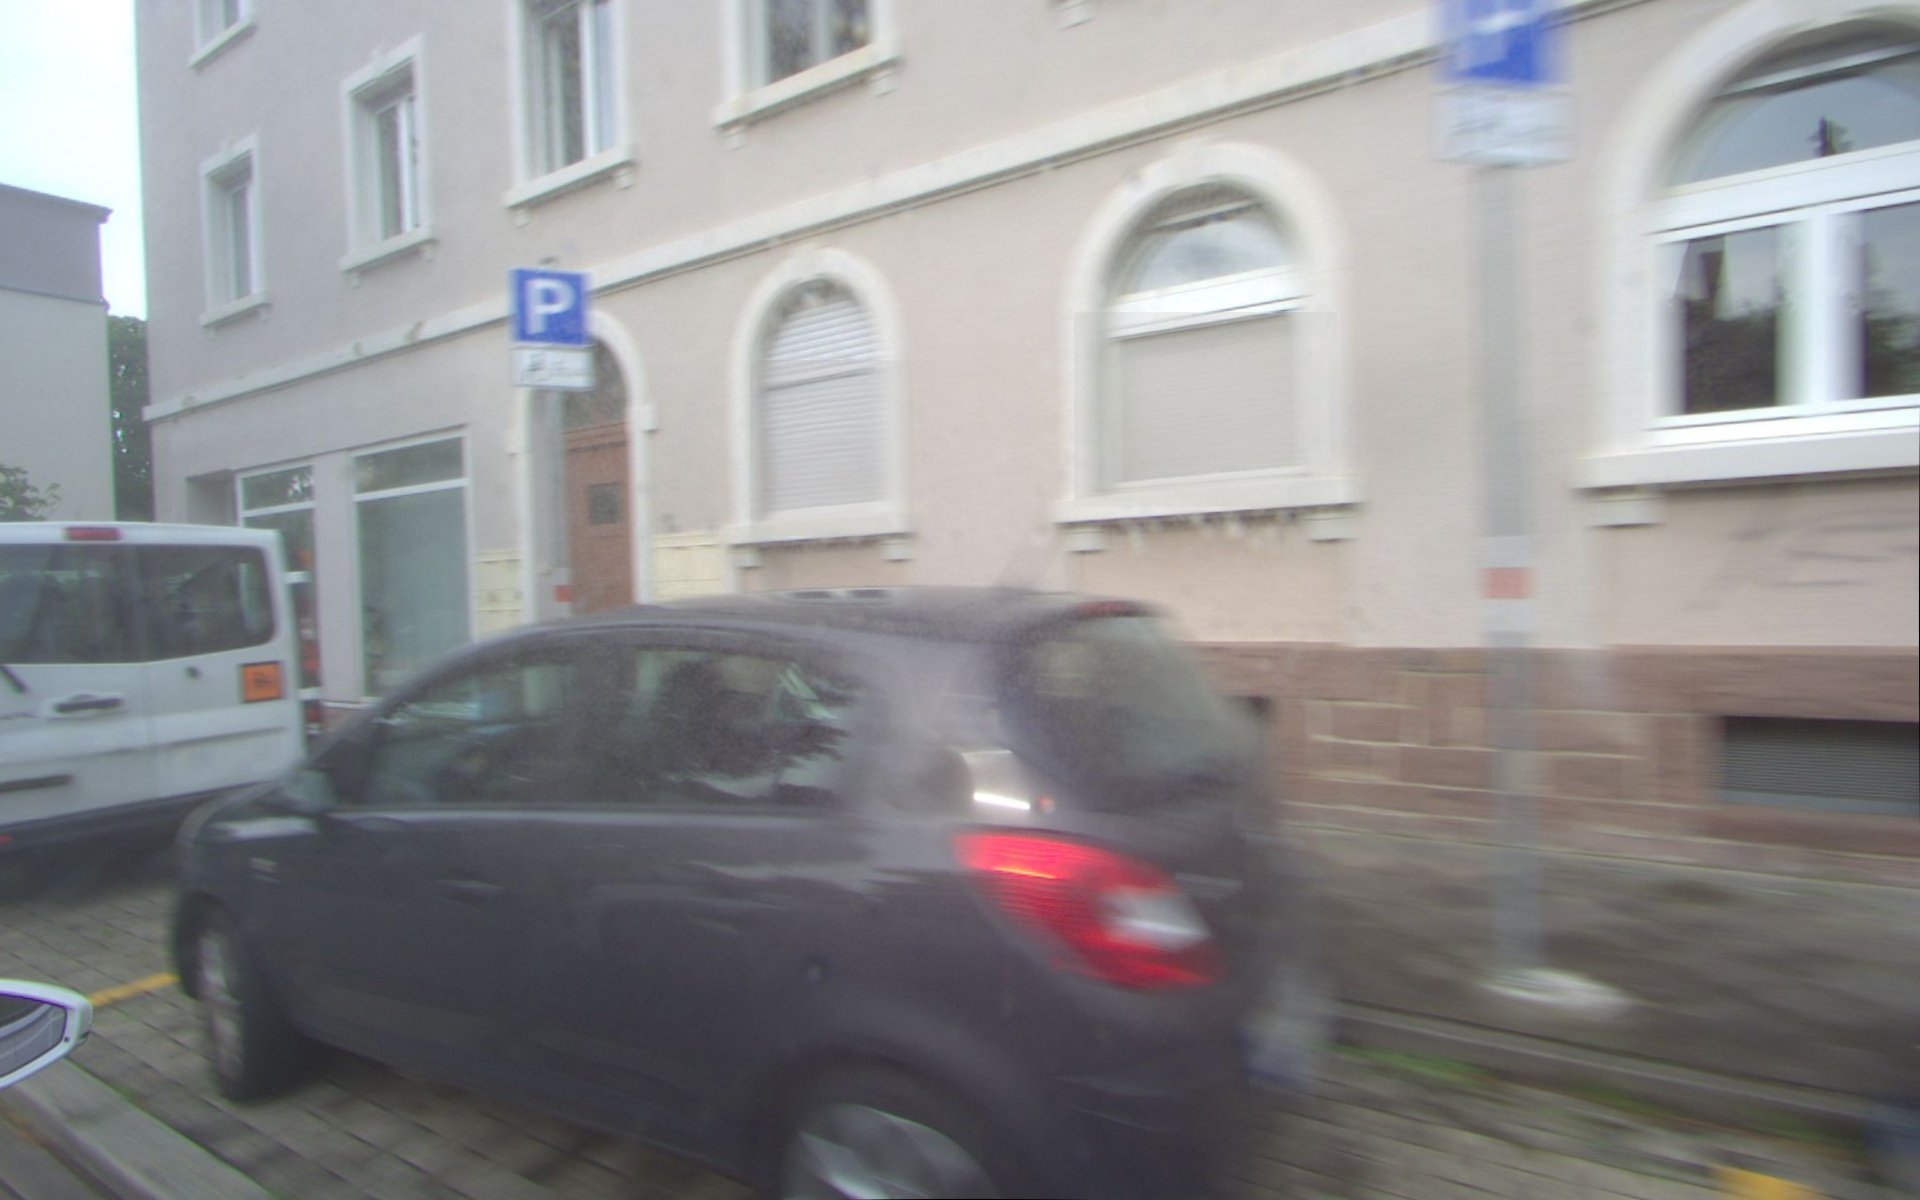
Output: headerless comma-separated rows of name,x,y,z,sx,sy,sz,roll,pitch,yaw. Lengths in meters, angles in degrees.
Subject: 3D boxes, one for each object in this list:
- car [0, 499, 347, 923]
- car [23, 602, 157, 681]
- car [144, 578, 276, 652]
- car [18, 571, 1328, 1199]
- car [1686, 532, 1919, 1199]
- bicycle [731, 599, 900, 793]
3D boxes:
car,-6.340,0.505,6.625,4.941,2.024,1.873,0,3,33
car,-20.641,0.896,23.709,4.306,1.587,1.825,1,2,42
car,-19.131,0.297,25.480,4.021,1.721,1.900,1,2,42
car,-1.010,0.716,3.134,3.842,1.474,1.684,0,4,30
car,3.272,0.636,0.588,4.480,1.474,1.682,0,4,33
bicycle,-0.970,0.601,6.638,1.139,1.198,0.318,0,2,31
